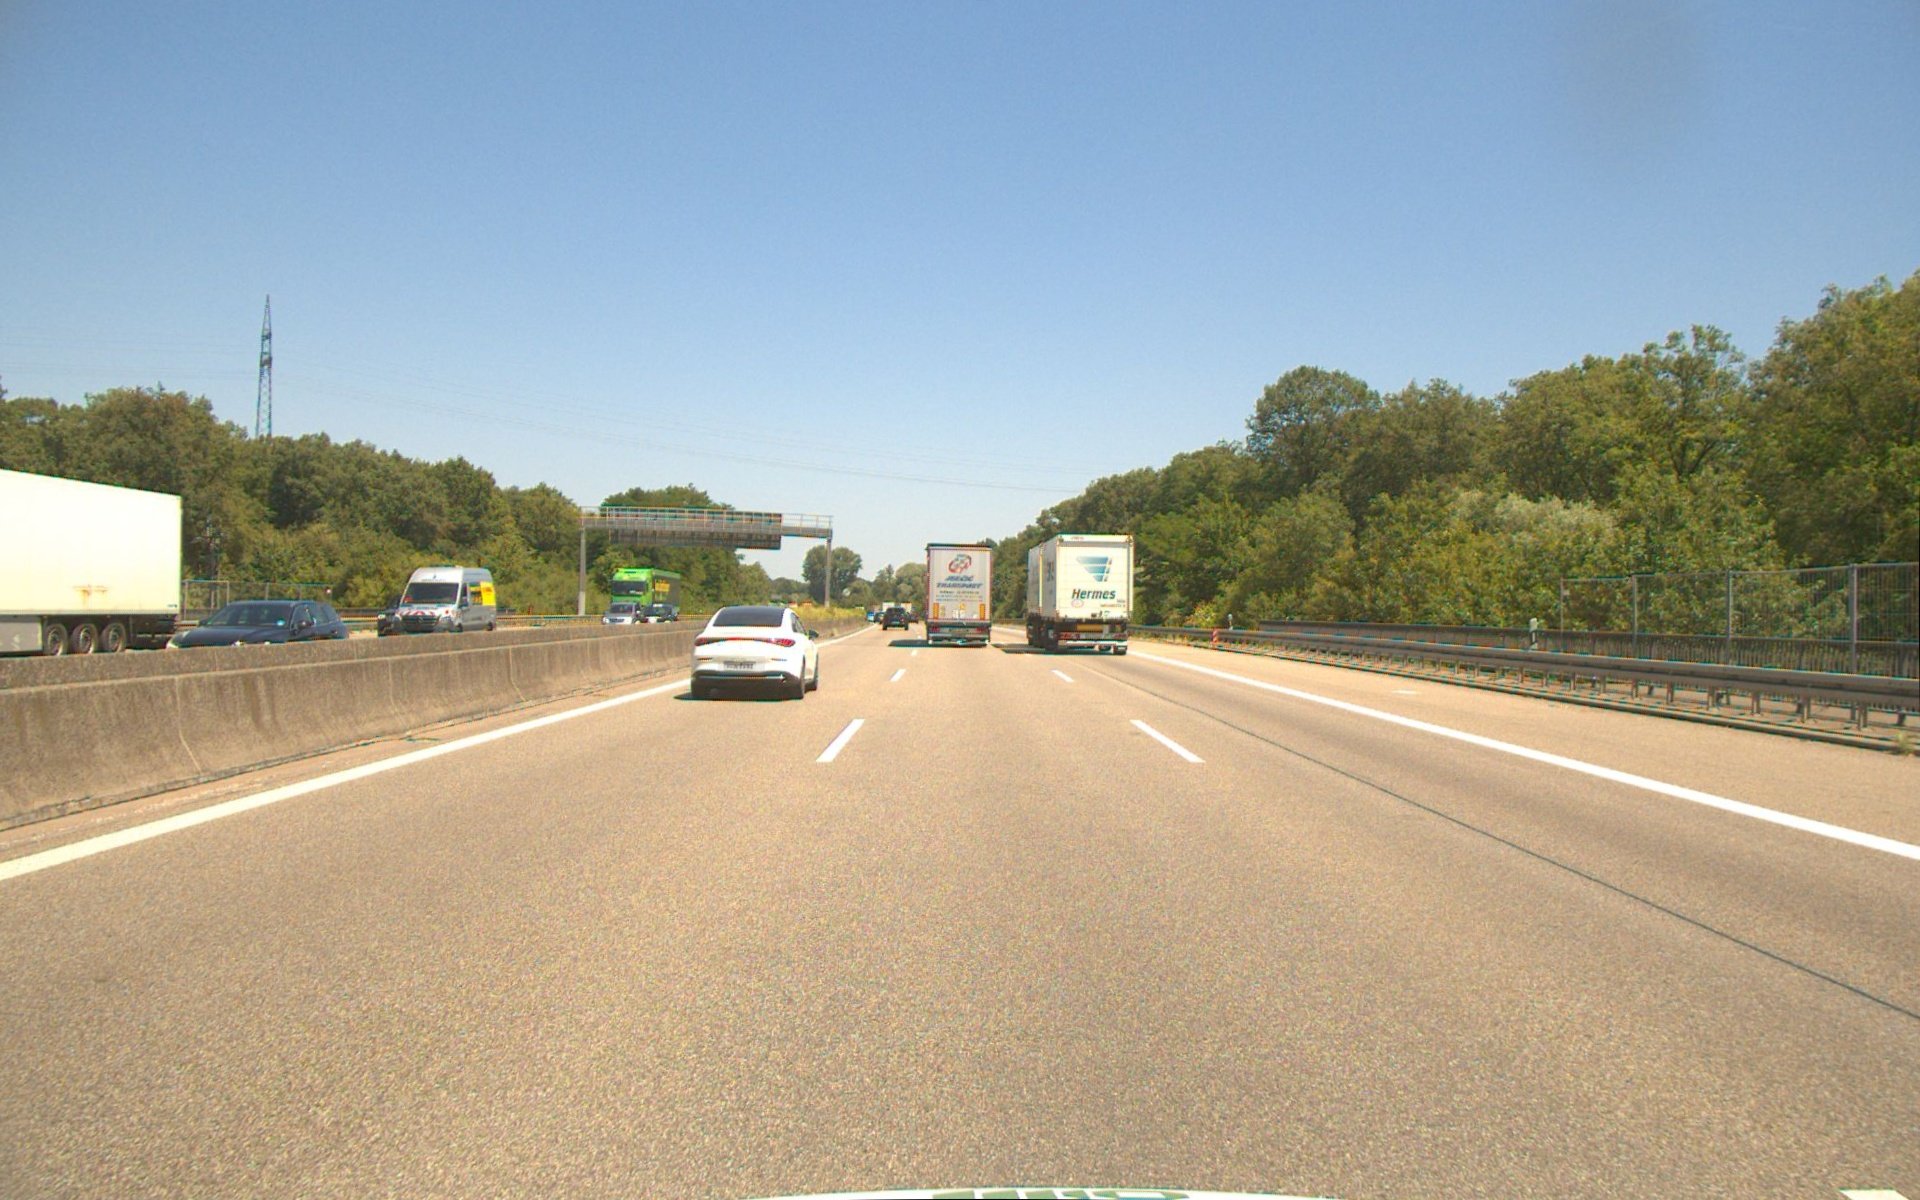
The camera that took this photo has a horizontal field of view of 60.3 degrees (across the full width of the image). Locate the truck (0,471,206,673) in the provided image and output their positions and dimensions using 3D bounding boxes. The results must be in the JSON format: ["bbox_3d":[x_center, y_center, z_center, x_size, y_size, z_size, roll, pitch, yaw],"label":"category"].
[{"bbox_3d":[-20.798,-0.588,36.747,2.986,4.046,11.148,1,0,0],"label":"truck"}]

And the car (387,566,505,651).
[{"bbox_3d":[-16.830,0.281,54.472,1.953,2.613,6.128,1,0,0],"label":"car"}]

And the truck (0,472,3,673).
[{"bbox_3d":[-20.757,-0.553,29.119,2.986,4.046,8.287,1,0,0],"label":"truck"}]

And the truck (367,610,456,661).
[{"bbox_3d":[-21.097,1.329,63.783,1.953,1.832,4.741,1,0,-2],"label":"truck"}]

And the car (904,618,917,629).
[{"bbox_3d":[-7.371,3.475,245.470,1.953,1.624,3.998,0,-1,-2],"label":"car"}]

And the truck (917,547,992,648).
[{"bbox_3d":[-0.255,-0.077,72.975,3.152,4.279,6.549,0,-1,-1],"label":"truck"}]

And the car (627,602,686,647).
[{"bbox_3d":[-13.296,1.069,72.625,1.953,1.881,3.998,1,0,-2],"label":"car"}]

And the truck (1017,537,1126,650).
[{"bbox_3d":[4.289,-0.324,66.337,3.259,4.123,10.950,1,1,-2],"label":"truck"}]

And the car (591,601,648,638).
[{"bbox_3d":[-16.619,0.945,80.909,1.959,1.742,4.538,1,0,-1],"label":"car"}]

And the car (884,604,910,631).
[{"bbox_3d":[-4.775,1.284,125.538,1.953,1.907,3.999,1,1,-2],"label":"car"}]

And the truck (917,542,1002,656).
[{"bbox_3d":[-0.088,-0.035,66.940,3.164,4.275,8.463,1,0,-1],"label":"truck"}]

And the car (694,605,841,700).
[{"bbox_3d":[-3.223,0.843,28.679,1.730,1.474,5.110,1,0,2],"label":"car"}]

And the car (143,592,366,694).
[{"bbox_3d":[-12.500,0.714,29.702,1.953,1.656,5.013,1,0,-2],"label":"car"}]

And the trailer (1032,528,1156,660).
[{"bbox_3d":[4.515,-0.258,57.828,3.299,4.215,9.089,1,1,-2],"label":"trailer"}]

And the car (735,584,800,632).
[{"bbox_3d":[-8.565,0.344,73.960,2.245,2.049,4.711,1,0,1],"label":"car"}]

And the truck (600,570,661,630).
[{"bbox_3d":[-22.734,0.036,114.478,2.862,4.010,6.498,0,0,0],"label":"truck"}]

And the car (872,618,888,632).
[{"bbox_3d":[-9.946,3.085,204.877,1.953,1.624,3.998,0,-1,-2],"label":"car"}]
